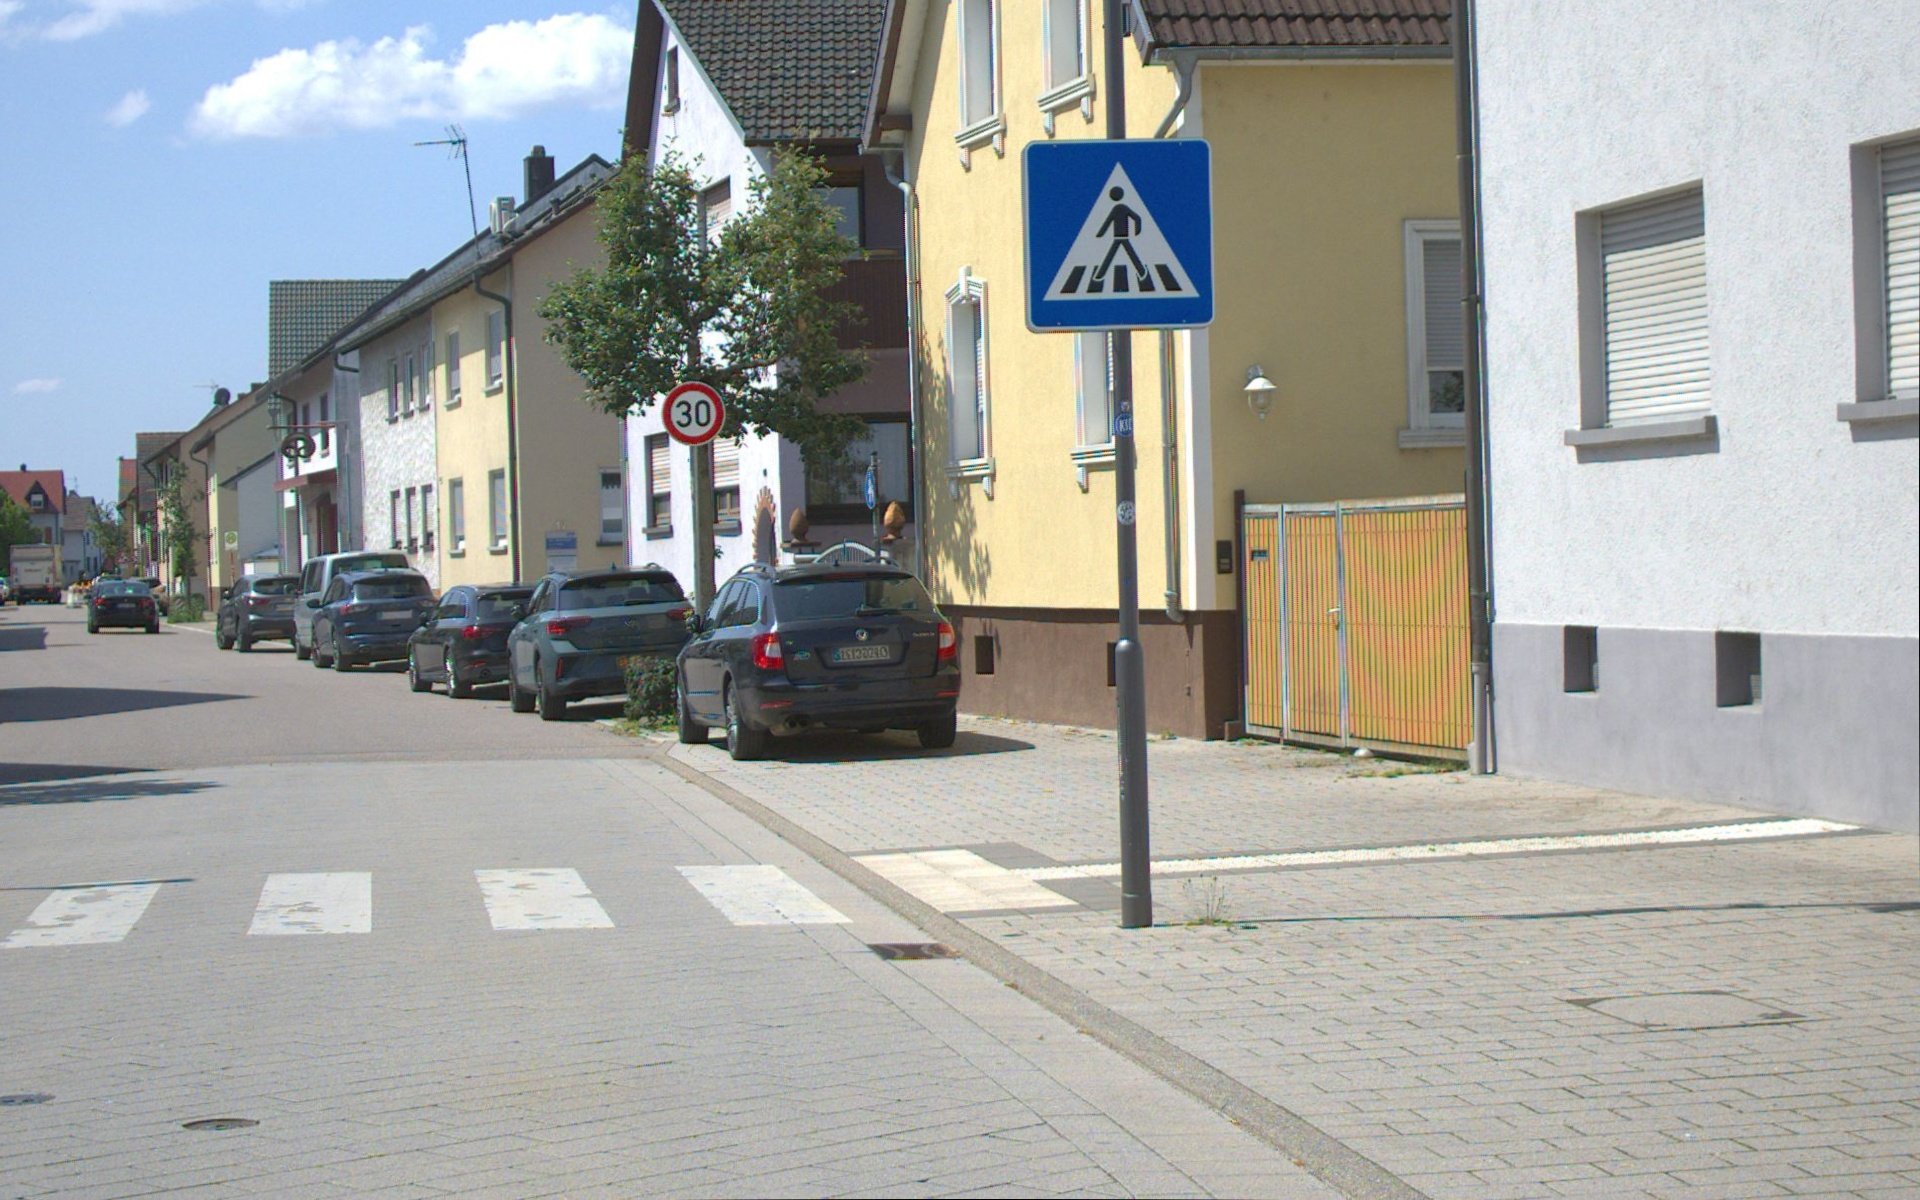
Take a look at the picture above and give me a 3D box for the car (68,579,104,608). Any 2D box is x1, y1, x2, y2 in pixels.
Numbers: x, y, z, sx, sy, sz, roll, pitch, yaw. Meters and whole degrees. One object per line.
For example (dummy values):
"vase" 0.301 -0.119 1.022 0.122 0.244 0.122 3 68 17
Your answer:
"car" -46.078 -0.371 181.156 1.687 1.447 3.794 -2 1 -16

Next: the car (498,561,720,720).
"car" -3.811 0.388 36.836 1.846 1.557 3.694 -2 1 -14

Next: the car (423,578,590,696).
"car" -5.883 0.444 44.286 1.710 1.382 3.707 -2 1 -14

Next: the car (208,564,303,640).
"car" -14.694 0.017 71.633 1.753 1.487 4.001 -2 1 -14

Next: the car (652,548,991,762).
"car" -1.203 0.399 27.587 1.828 1.466 4.277 -4 1 -14

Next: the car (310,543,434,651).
"car" -10.830 -0.083 63.139 1.906 1.865 4.001 -2 1 -14

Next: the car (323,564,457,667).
"car" -9.569 0.226 57.541 1.877 1.586 4.001 -2 1 -14

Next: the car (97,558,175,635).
"car" -23.029 -0.116 95.996 1.993 2.051 4.375 -2 1 -14

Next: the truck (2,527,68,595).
"truck" -56.316 -2.396 209.218 3.563 3.940 8.584 -2 1 -16
